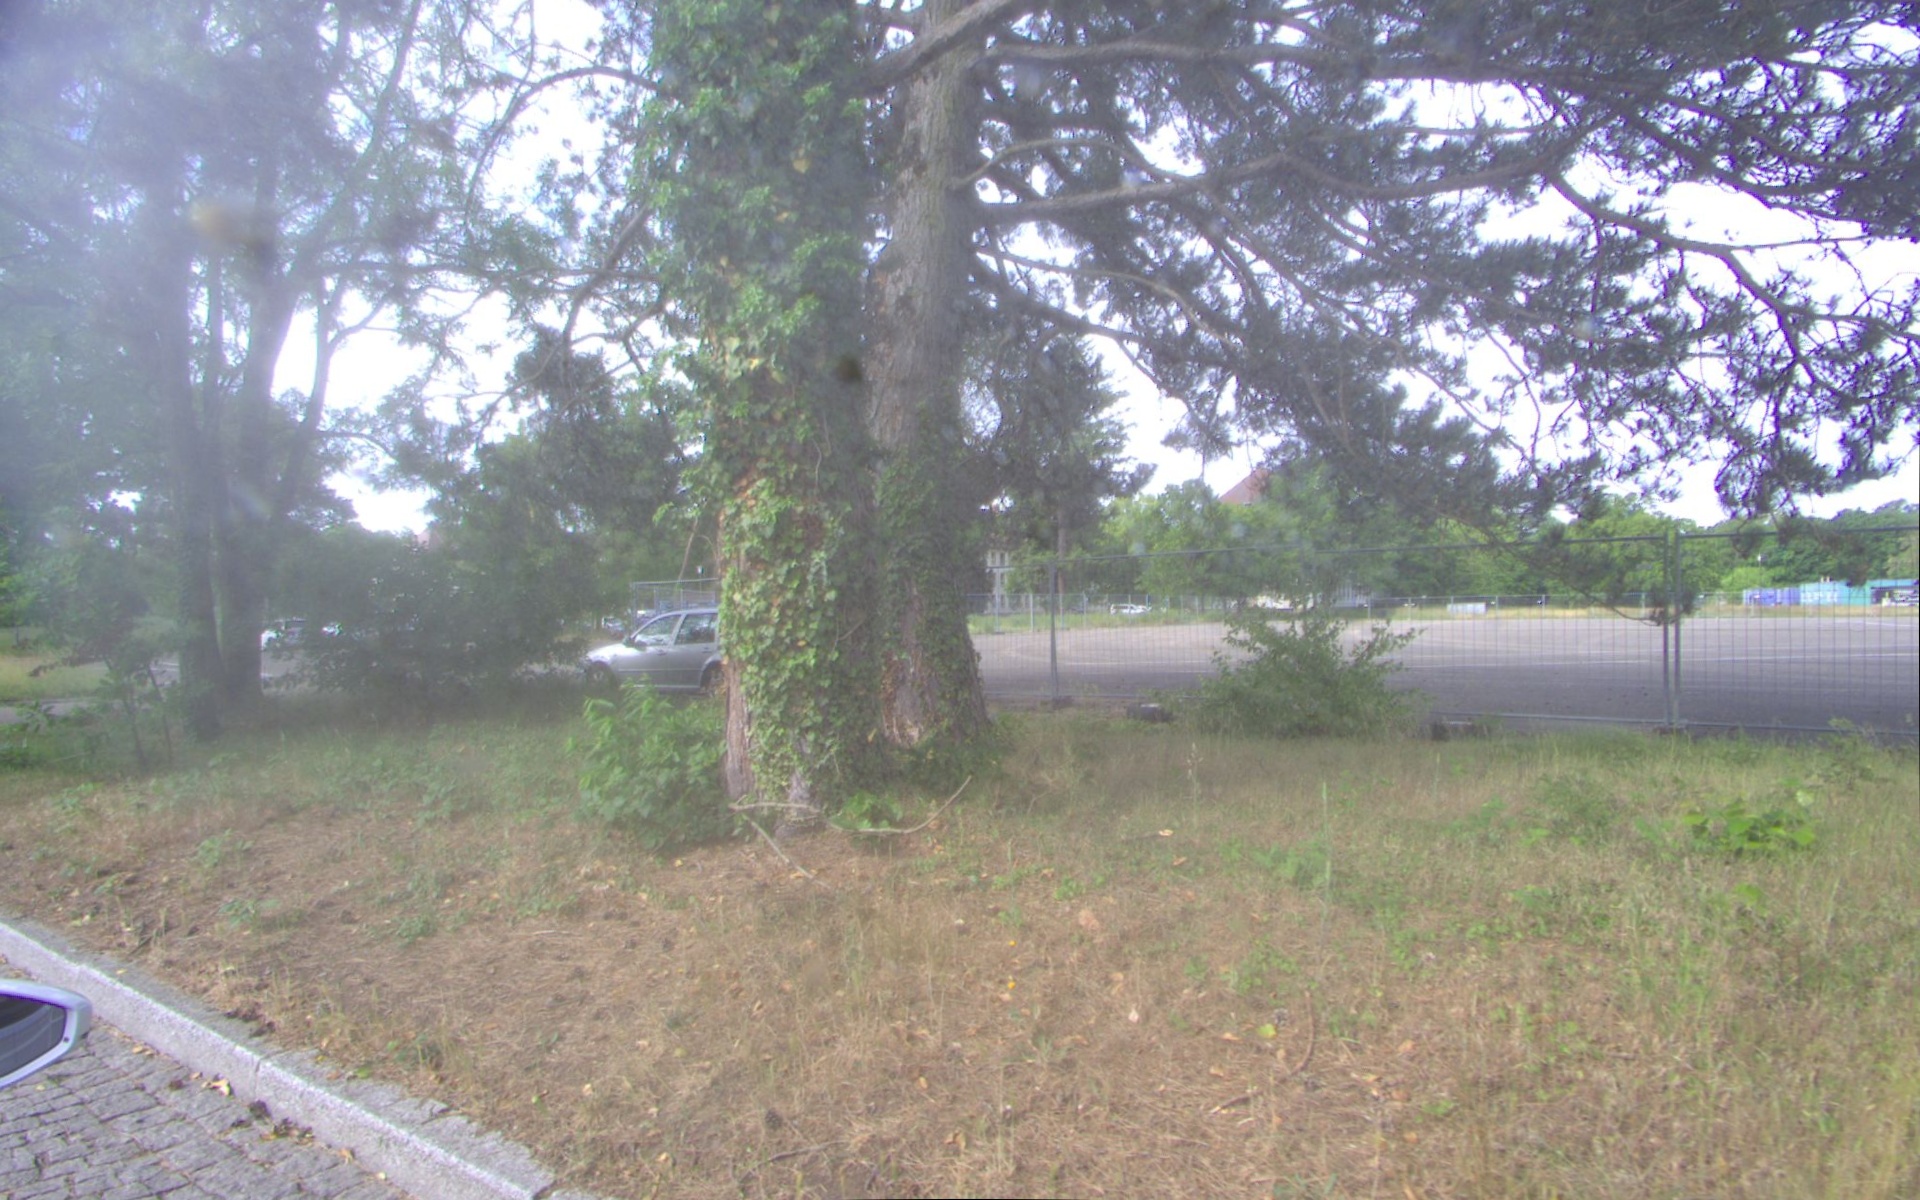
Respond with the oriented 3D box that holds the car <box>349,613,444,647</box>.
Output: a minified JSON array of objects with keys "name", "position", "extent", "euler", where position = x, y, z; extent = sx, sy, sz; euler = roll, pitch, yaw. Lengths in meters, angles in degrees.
[{"name":"car","position":[-27.278,1.466,48.443],"extent":[4.359,1.500,1.991],"euler":[-3,-1,29]}]

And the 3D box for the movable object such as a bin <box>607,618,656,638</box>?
[{"name":"movable object such as a bin","position":[-14.688,1.232,44.724],"extent":[1.929,0.836,1.181],"euler":[-1,0,37]}]

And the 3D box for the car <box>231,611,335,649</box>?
[{"name":"car","position":[-29.633,1.324,43.801],"extent":[4.359,1.500,1.991],"euler":[-3,-1,29]}]

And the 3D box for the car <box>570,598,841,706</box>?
[{"name":"car","position":[-3.899,0.768,15.190],"extent":[4.014,1.444,1.644],"euler":[-1,-3,31]}]
